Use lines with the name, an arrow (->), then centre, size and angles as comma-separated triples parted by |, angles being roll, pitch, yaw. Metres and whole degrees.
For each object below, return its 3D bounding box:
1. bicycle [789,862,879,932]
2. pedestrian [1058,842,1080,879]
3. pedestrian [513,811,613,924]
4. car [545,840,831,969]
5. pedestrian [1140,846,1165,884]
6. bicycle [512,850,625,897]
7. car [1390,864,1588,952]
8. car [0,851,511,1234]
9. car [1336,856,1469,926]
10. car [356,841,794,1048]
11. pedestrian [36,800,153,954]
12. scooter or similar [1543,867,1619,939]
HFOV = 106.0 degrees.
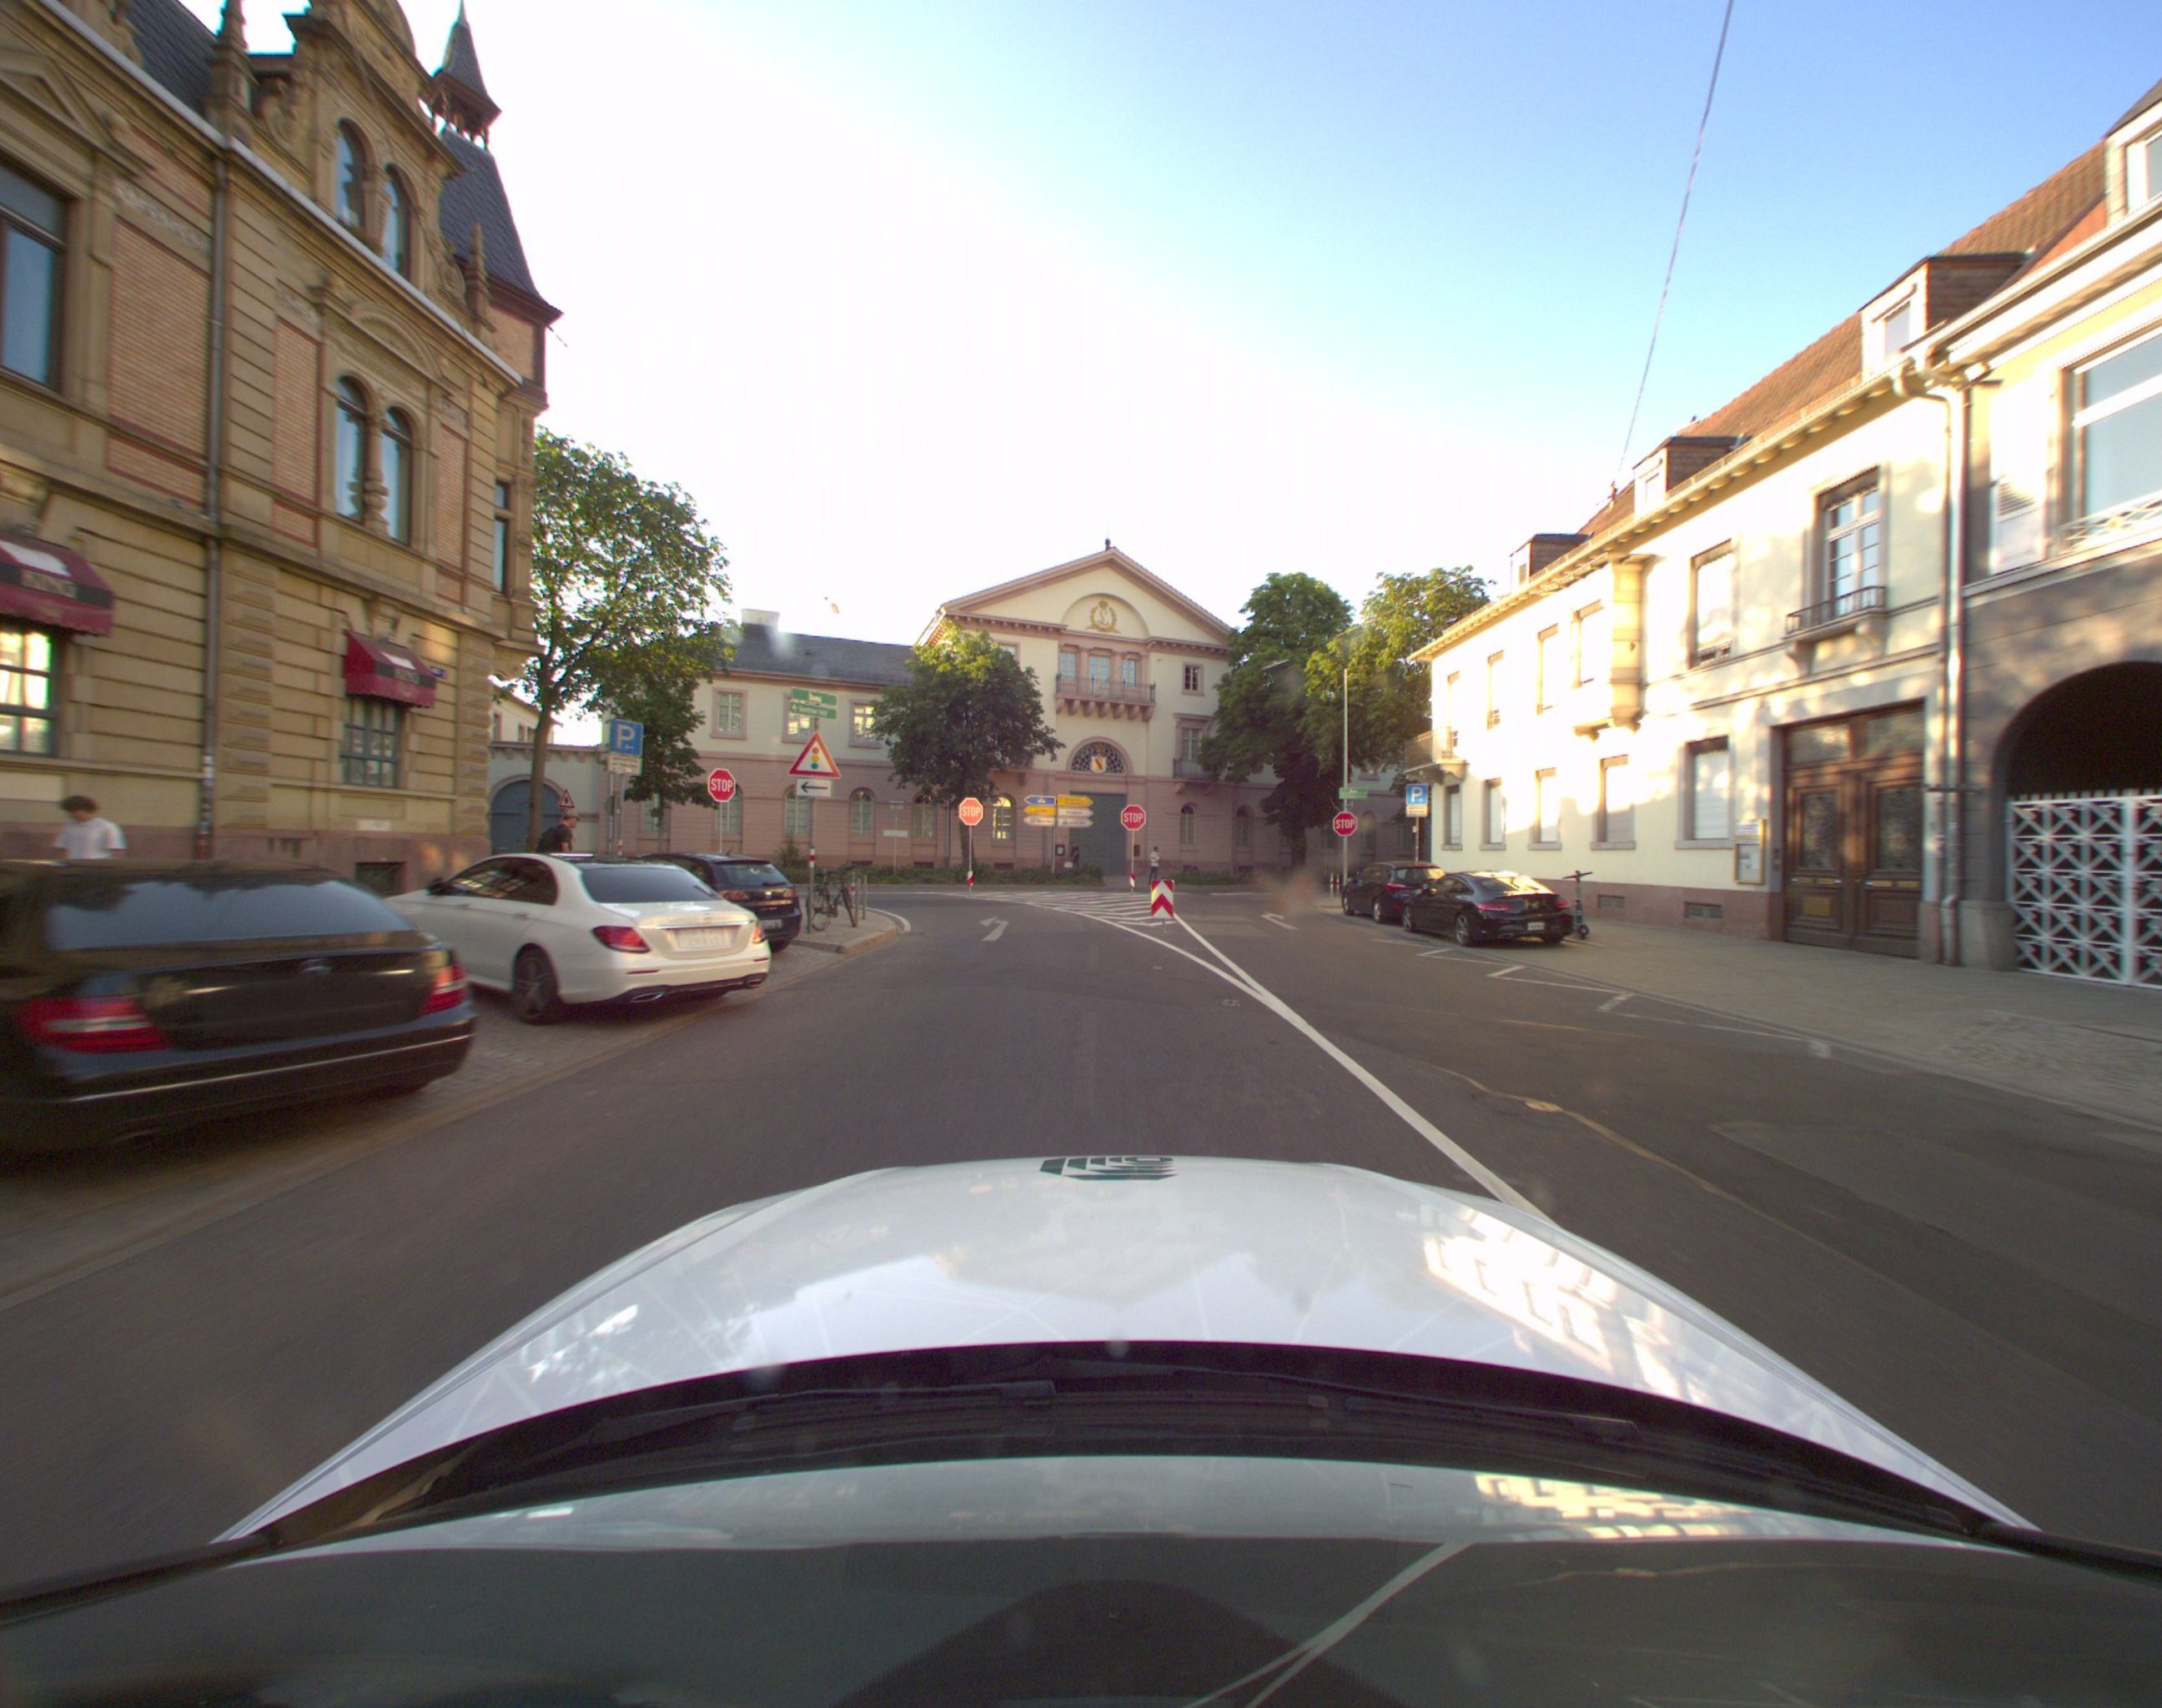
bicycle -> -4.377, 0.729, 14.569 | 0.721, 1.126, 1.809 | 3, 0, 10
pedestrian -> -0.617, 0.335, 41.177 | 0.801, 1.839, 1.075 | 1, 0, -21
pedestrian -> -8.344, 0.195, 13.183 | 1.269, 1.738, 0.843 | 0, 2, -27
car -> -5.835, 0.642, 12.085 | 3.816, 1.460, 1.751 | 4, 1, 25
pedestrian -> 3.486, 0.537, 39.648 | 0.931, 1.832, 0.794 | 1, 0, -25
bicycle -> -14.466, 0.556, 23.034 | 2.561, 1.267, 0.844 | 1, 0, -7
car -> 7.892, 0.956, 16.339 | 1.765, 1.394, 4.862 | 1, 0, 3
car -> -5.513, 0.713, 4.810 | 4.198, 1.447, 1.721 | 0, 0, 27
car -> 8.143, 0.867, 21.088 | 1.794, 1.541, 4.433 | 1, 0, 2
car -> -5.294, 0.715, 8.374 | 4.570, 1.512, 1.779 | 2, 1, 29
pedestrian -> -10.775, 0.245, 8.910 | 0.574, 1.608, 0.522 | 2, 0, 2
scooter or similar -> 9.354, 0.890, 15.305 | 0.598, 1.233, 1.776 | -2, -1, 12
